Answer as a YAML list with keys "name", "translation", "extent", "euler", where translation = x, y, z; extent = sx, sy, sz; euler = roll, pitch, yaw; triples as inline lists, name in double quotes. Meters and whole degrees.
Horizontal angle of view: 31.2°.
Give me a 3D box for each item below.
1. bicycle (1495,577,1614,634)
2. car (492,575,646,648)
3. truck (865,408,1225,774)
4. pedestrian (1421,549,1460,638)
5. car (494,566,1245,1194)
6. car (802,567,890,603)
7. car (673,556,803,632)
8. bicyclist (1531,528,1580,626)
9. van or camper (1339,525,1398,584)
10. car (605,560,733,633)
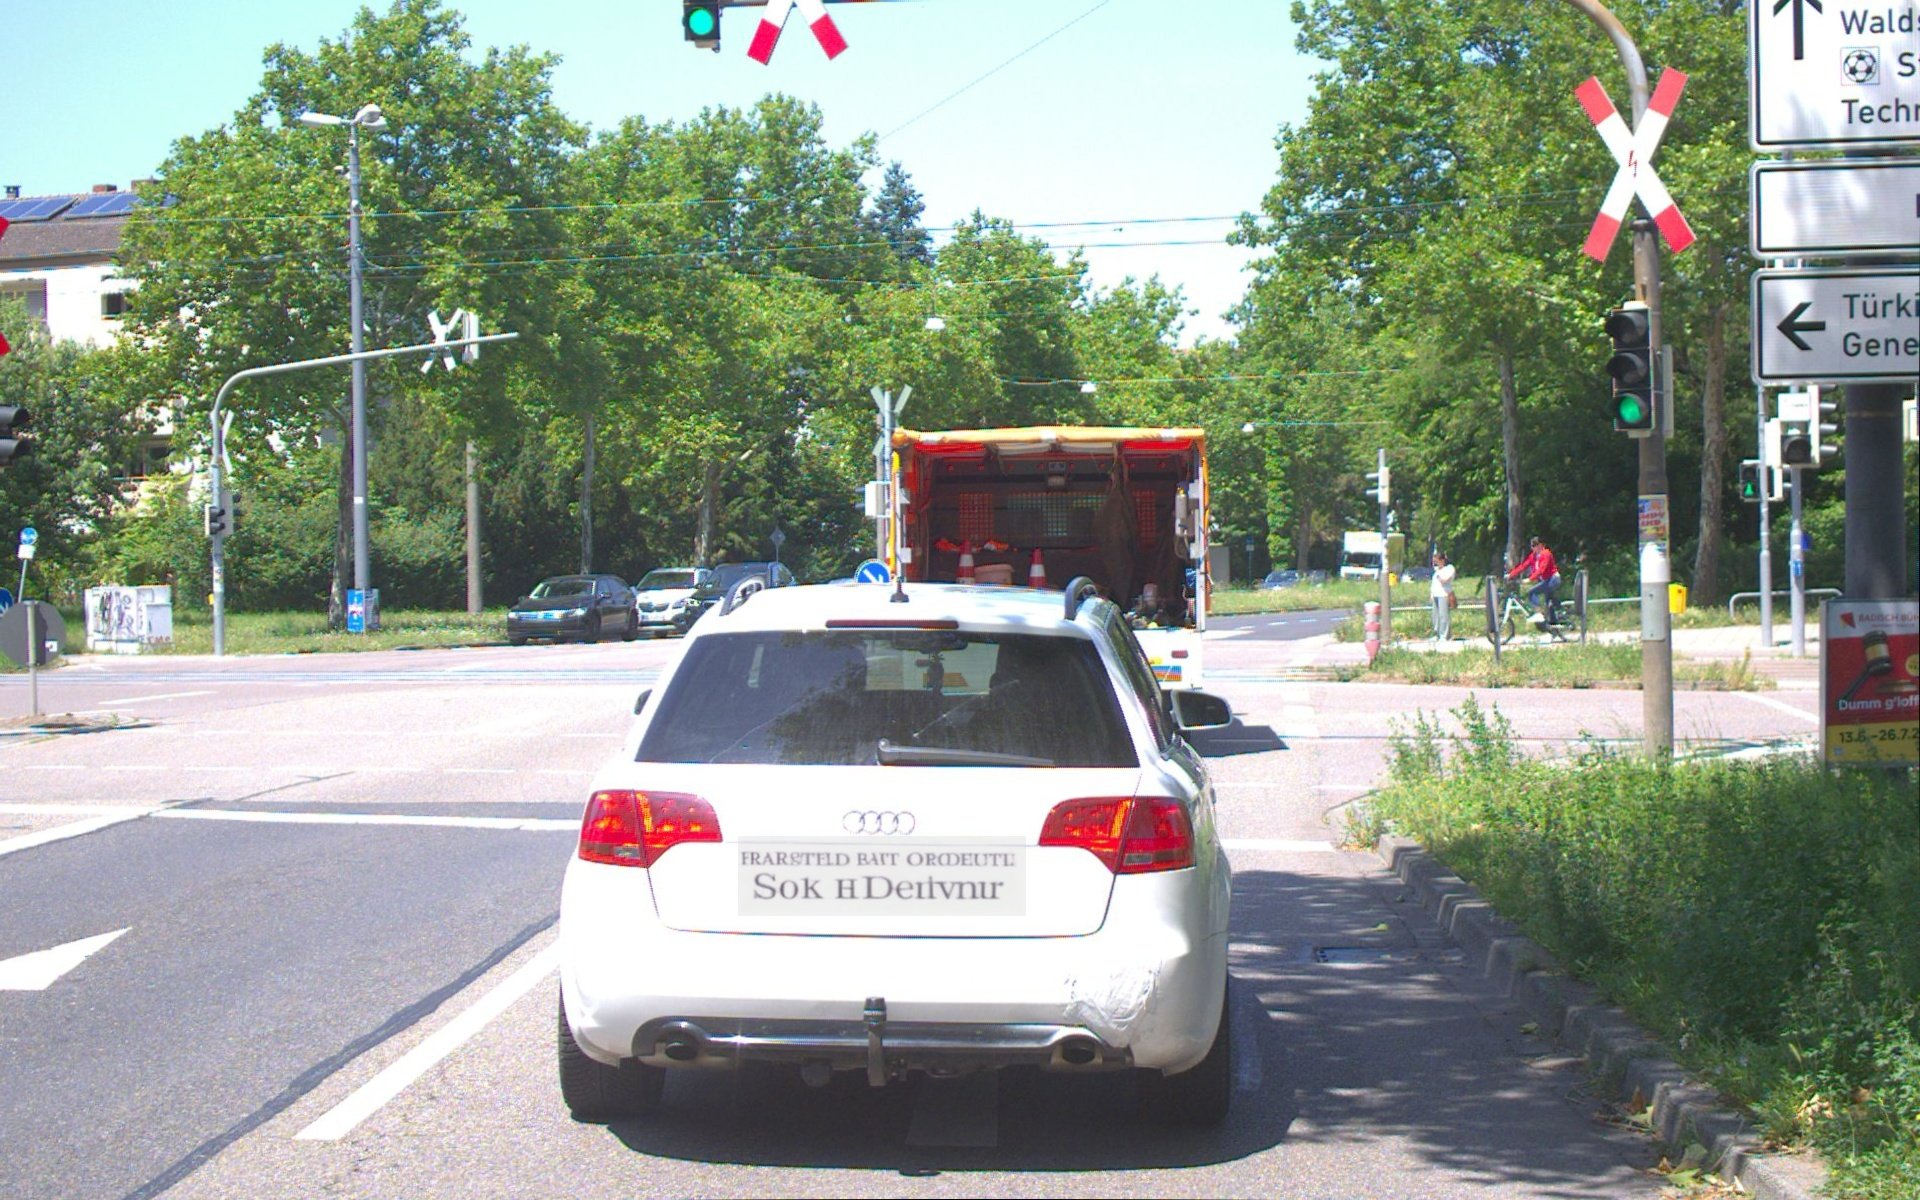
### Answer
- name: "bicycle"
  translation: [9.571, 0.084, 55.399]
  extent: [1.805, 0.892, 0.589]
  euler: [-1, 1, -1]
- name: "car"
  translation: [-8.270, 0.223, 73.156]
  extent: [1.950, 1.435, 4.744]
  euler: [0, 1, 11]
- name: "truck"
  translation: [0.763, -0.095, 28.086]
  extent: [2.511, 2.551, 7.602]
  euler: [1, 0, 2]
- name: "pedestrian"
  translation: [8.075, -0.110, 57.821]
  extent: [0.553, 1.479, 0.629]
  euler: [-1, 1, 16]
- name: "car"
  translation: [-0.108, 0.635, 9.872]
  extent: [1.763, 1.440, 3.615]
  euler: [0, 1, 4]
- name: "car"
  translation: [-4.567, -0.612, 138.748]
  extent: [1.884, 1.388, 3.994]
  euler: [0, 1, 26]
- name: "car"
  translation: [-4.721, -0.145, 73.657]
  extent: [1.909, 1.533, 4.297]
  euler: [-1, 1, 8]
- name: "bicyclist"
  translation: [9.590, -0.371, 55.391]
  extent: [0.671, 1.551, 0.579]
  euler: [-1, 1, -1]
- name: "van or camper"
  translation: [23.674, -2.629, 199.107]
  extent: [2.662, 3.320, 5.497]
  euler: [0, 1, 14]
- name: "car"
  translation: [-6.749, -0.108, 80.288]
  extent: [1.788, 1.609, 4.402]
  euler: [-1, 1, 12]
